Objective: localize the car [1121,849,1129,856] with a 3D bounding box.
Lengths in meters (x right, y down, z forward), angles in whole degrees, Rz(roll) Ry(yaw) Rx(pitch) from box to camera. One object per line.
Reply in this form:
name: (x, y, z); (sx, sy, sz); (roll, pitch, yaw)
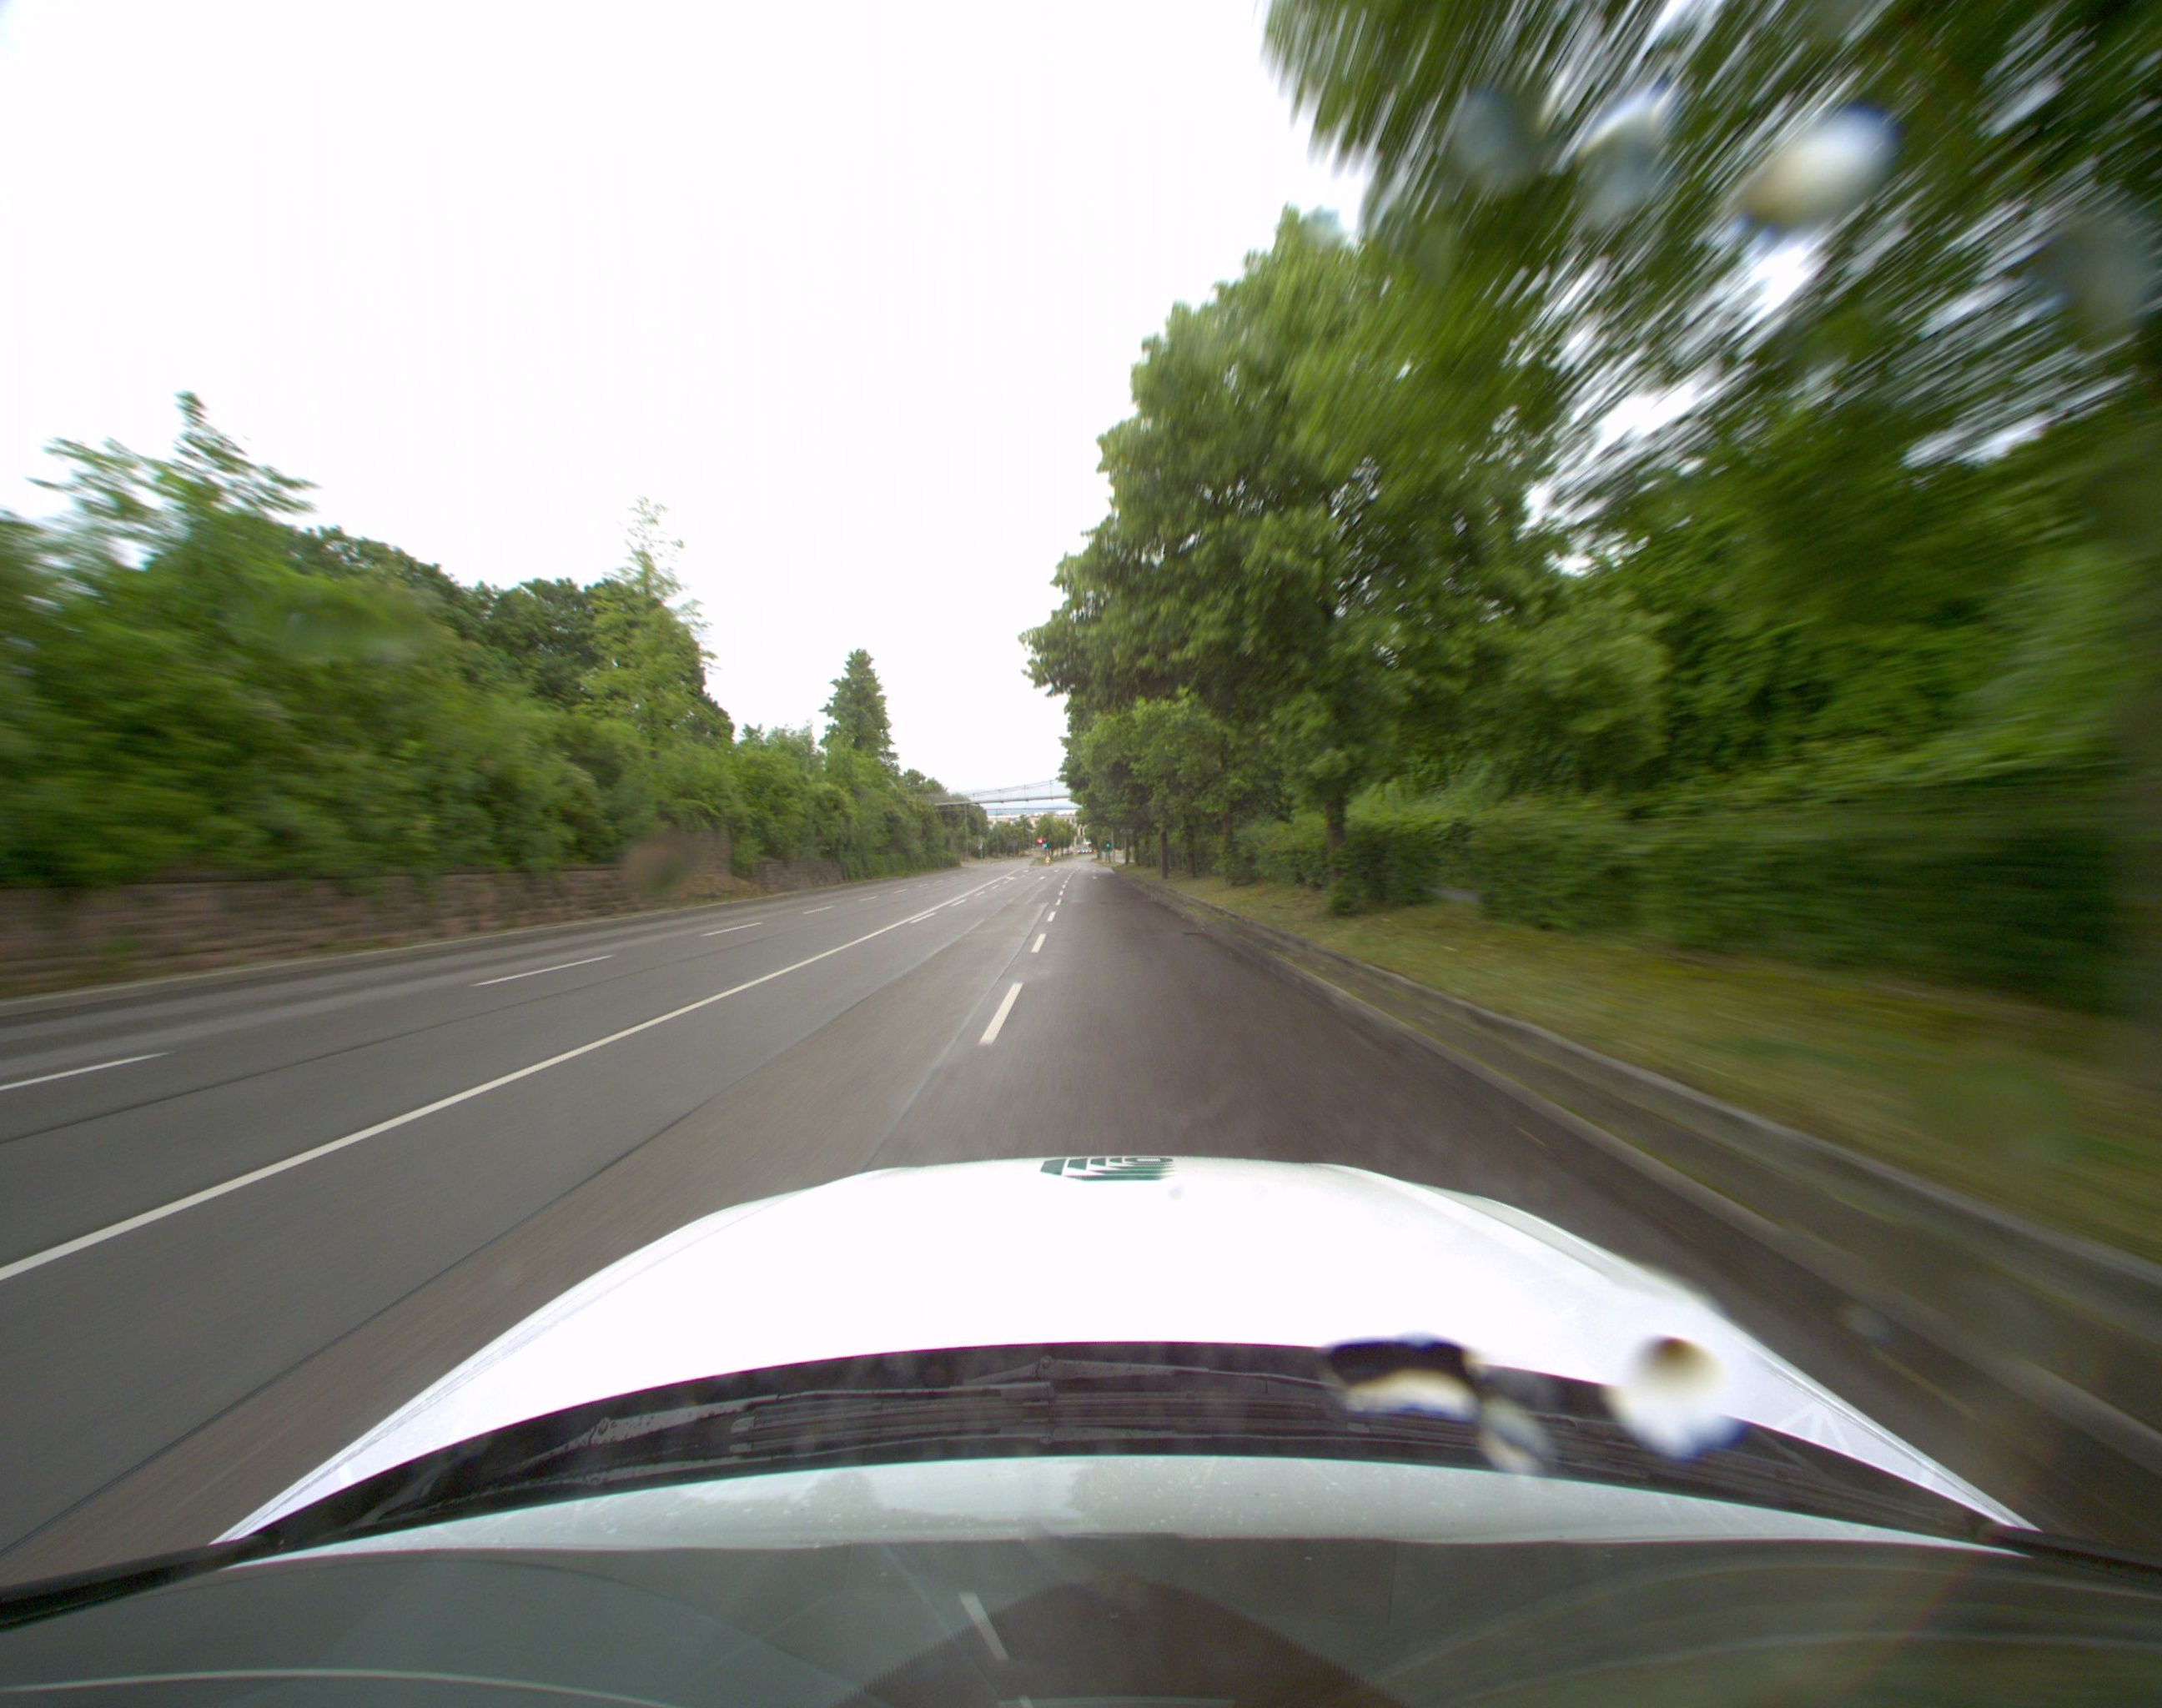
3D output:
car: (12.601, -0.420, 235.416); (1.838, 1.702, 3.803); (0, -1, 10)
